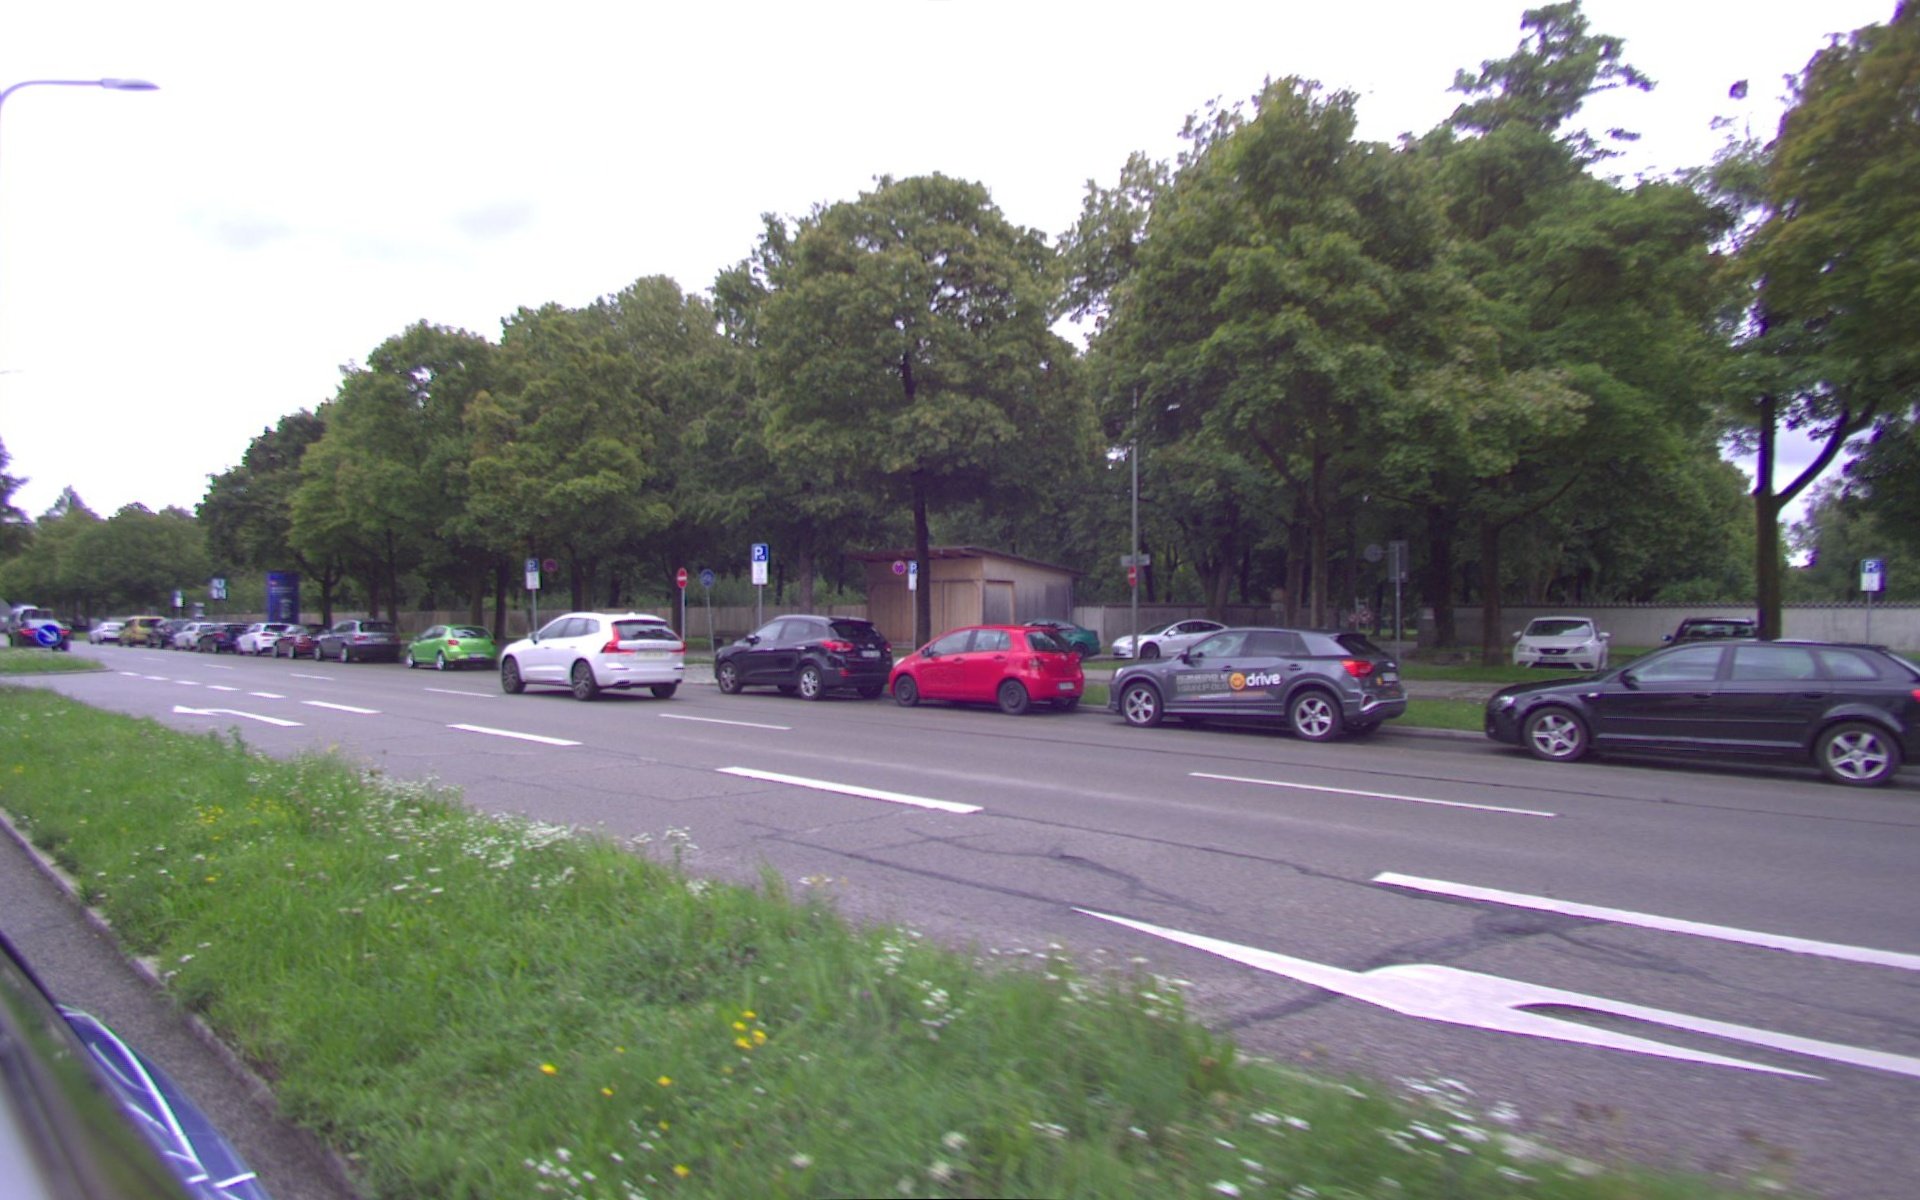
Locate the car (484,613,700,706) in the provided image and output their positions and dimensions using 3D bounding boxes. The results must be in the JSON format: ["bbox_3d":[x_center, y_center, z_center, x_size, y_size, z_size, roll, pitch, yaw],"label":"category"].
[{"bbox_3d":[-7.382,1.116,20.090,4.681,1.632,2.004,-1,-2,41],"label":"car"}]

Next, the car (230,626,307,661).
[{"bbox_3d":[-31.006,1.922,45.334,4.258,1.488,1.802,-1,-4,42],"label":"car"}]

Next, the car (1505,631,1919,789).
[{"bbox_3d":[8.300,1.071,10.871,4.000,1.420,1.801,-1,-3,43],"label":"car"}]

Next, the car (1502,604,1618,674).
[{"bbox_3d":[13.878,0.853,23.293,1.996,1.453,3.952,-1,-1,35],"label":"car"}]

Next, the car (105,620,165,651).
[{"bbox_3d":[-49.211,2.097,60.360,4.529,1.784,1.839,-1,-3,39],"label":"car"}]

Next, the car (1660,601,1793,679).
[{"bbox_3d":[15.932,0.774,21.037,1.997,1.453,4.095,-1,-1,38],"label":"car"}]

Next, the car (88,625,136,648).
[{"bbox_3d":[-56.723,2.430,67.666,4.037,1.454,1.695,-1,-3,39],"label":"car"}]

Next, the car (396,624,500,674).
[{"bbox_3d":[-16.495,1.560,32.509,3.999,1.511,1.623,-2,-3,42],"label":"car"}]

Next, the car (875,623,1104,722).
[{"bbox_3d":[0.464,1.204,18.067,3.806,1.490,1.803,0,0,40],"label":"car"}]

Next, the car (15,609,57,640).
[{"bbox_3d":[-81.926,2.174,89.703,4.495,2.611,1.974,-1,-3,39],"label":"car"}]

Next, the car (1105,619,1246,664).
[{"bbox_3d":[7.363,1.394,34.644,4.392,1.420,1.865,0,-1,-19],"label":"car"}]

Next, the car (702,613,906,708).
[{"bbox_3d":[-3.277,1.138,20.817,4.236,1.712,1.803,0,0,40],"label":"car"}]

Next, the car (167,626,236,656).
[{"bbox_3d":[-39.290,2.128,52.389,4.296,1.481,1.804,-1,-3,39],"label":"car"}]

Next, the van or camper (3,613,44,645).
[{"bbox_3d":[-85.781,2.655,92.666,4.926,2.829,1.974,-1,-3,39],"label":"van or camper"}]

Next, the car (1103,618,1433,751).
[{"bbox_3d":[4.240,1.069,14.340,4.112,1.611,1.802,-1,-2,42],"label":"car"}]

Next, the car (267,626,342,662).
[{"bbox_3d":[-27.149,1.805,41.856,3.685,1.433,1.632,-1,-4,42],"label":"car"}]

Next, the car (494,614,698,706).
[{"bbox_3d":[-7.205,1.132,19.854,4.400,1.612,1.831,-1,-4,41],"label":"car"}]

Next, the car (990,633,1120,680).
[{"bbox_3d":[3.106,1.831,33.315,3.793,1.420,1.865,0,-1,-19],"label":"car"}]

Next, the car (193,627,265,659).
[{"bbox_3d":[-35.299,2.056,48.839,3.783,1.457,1.804,-1,-4,39],"label":"car"}]

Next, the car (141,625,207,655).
[{"bbox_3d":[-43.946,2.205,56.563,4.037,1.628,1.982,-1,-3,39],"label":"car"}]

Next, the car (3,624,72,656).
[{"bbox_3d":[-44.296,1.871,48.561,4.778,1.459,1.797,-1,-2,40],"label":"car"}]

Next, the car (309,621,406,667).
[{"bbox_3d":[-22.700,1.629,38.064,4.453,1.643,1.803,-1,-3,41],"label":"car"}]
